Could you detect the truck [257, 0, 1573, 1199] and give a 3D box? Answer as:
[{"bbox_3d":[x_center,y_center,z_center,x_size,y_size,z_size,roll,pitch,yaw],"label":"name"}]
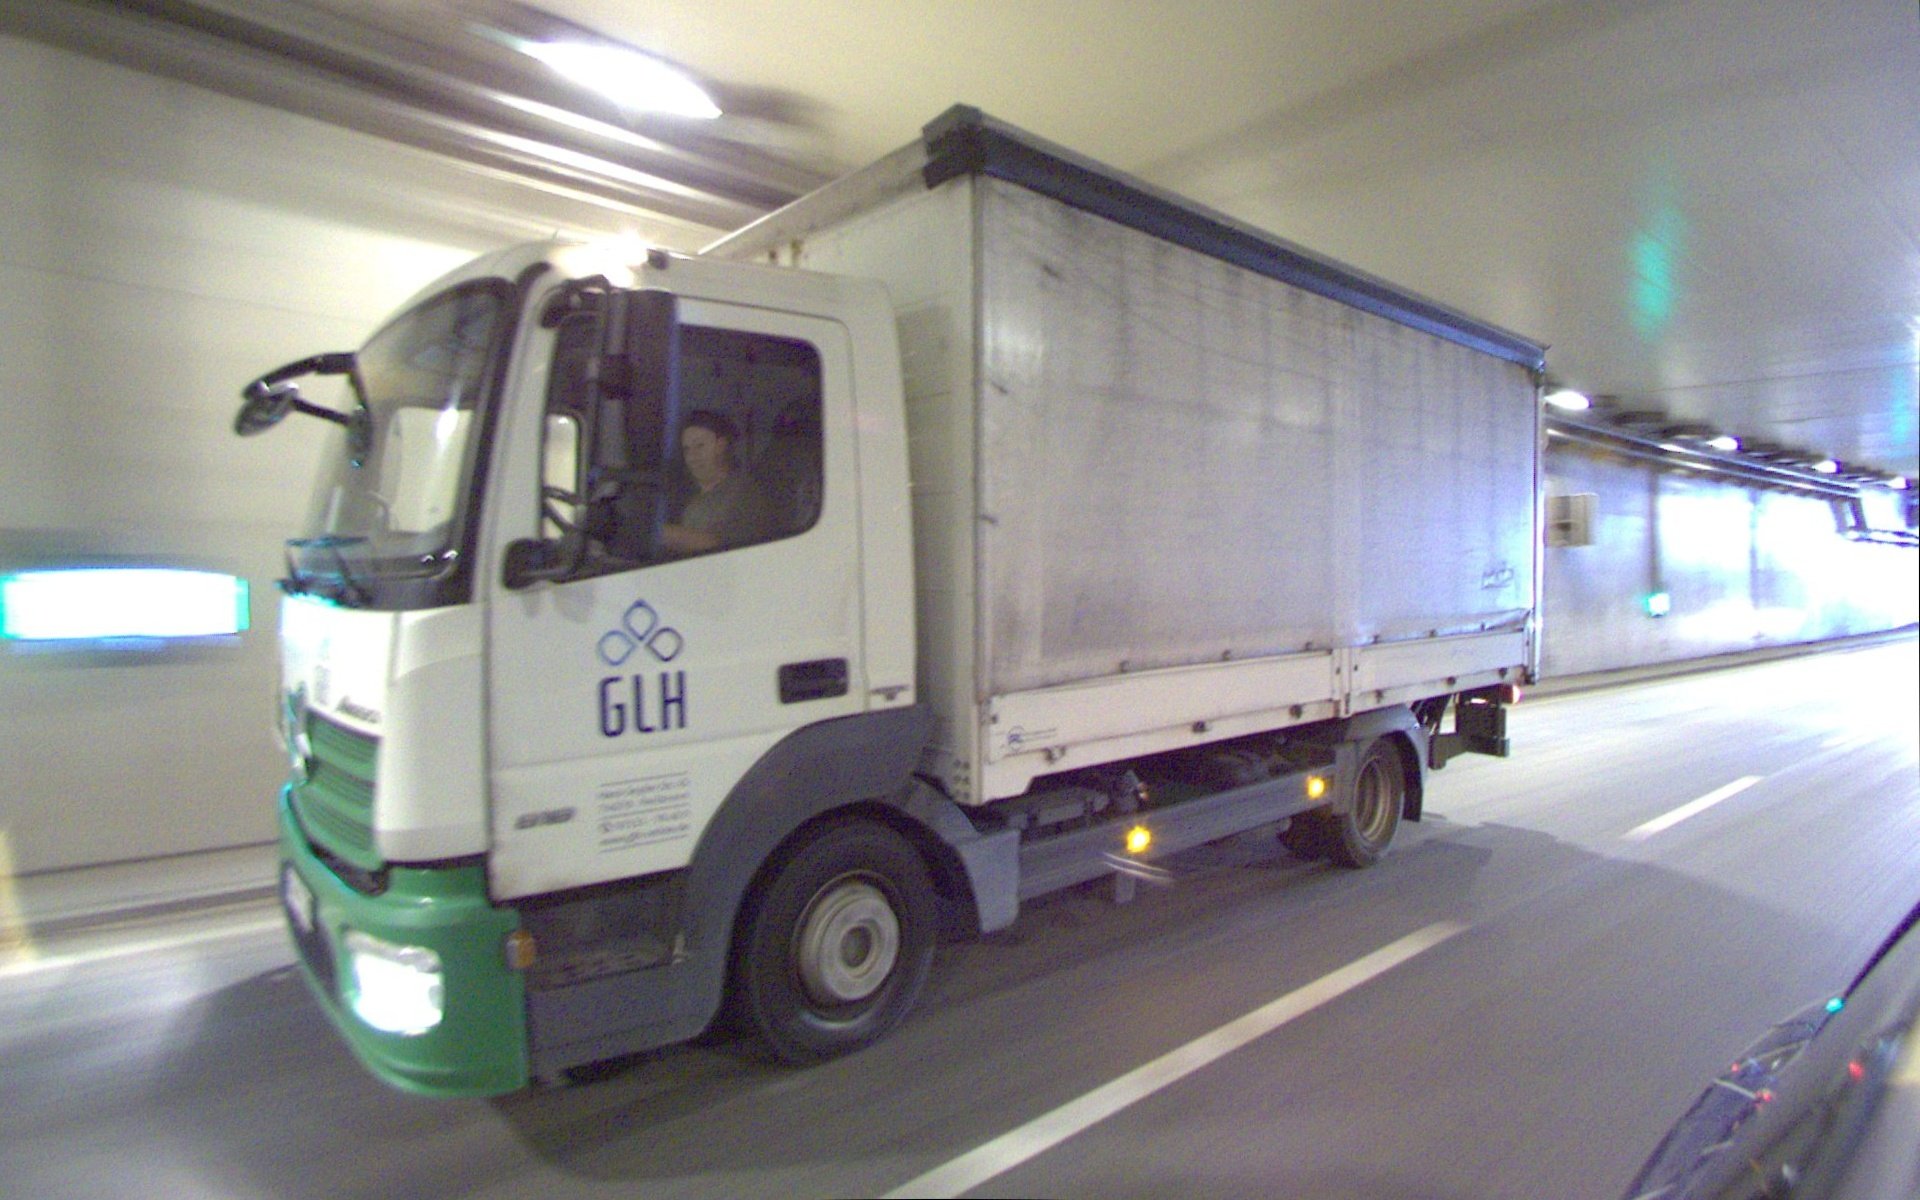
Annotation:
[{"bbox_3d":[0.651,-0.214,5.491,7.120,3.221,2.557,-1,0,-41],"label":"truck"}]
